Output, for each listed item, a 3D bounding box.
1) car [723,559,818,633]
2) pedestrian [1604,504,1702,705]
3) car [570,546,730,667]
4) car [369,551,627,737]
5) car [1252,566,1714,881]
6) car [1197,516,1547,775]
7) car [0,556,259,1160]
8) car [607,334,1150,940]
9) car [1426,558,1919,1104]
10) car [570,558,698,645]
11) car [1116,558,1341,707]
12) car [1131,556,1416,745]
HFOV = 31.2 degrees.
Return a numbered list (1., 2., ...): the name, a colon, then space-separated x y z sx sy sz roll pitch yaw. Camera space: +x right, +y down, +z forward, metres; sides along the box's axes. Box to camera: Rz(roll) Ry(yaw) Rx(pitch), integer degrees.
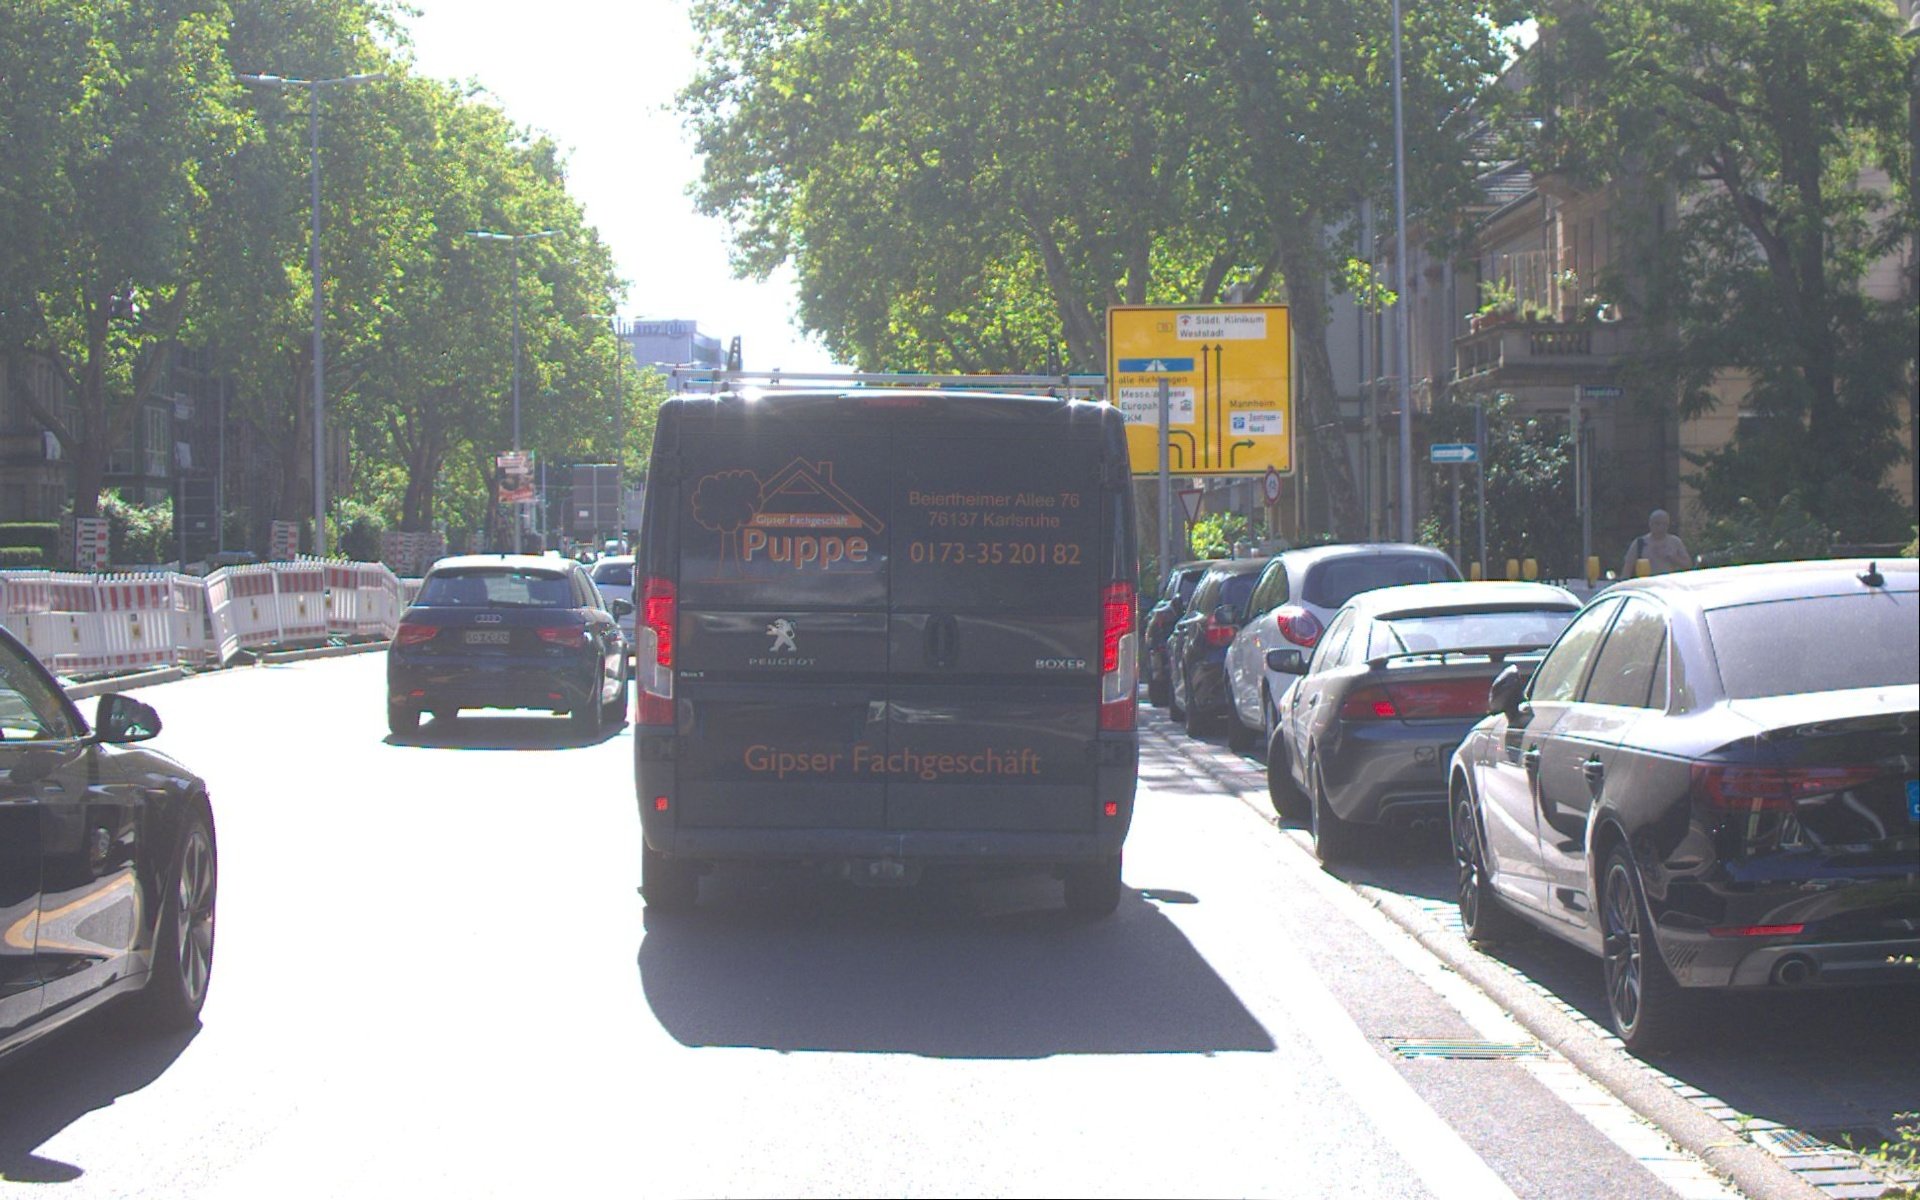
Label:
1. car: -3.254 -0.084 59.455 1.421 1.221 3.438 0 1 0
2. pedestrian: 7.064 0.042 35.087 0.798 2.007 1.168 -1 1 4
3. car: -3.778 0.061 42.340 1.548 1.420 3.555 0 1 2
4. car: -3.755 0.311 28.508 1.746 1.402 4.001 1 1 -2
5. car: 2.562 0.549 17.677 1.844 1.403 3.800 -1 1 1
6. car: 2.838 0.274 24.464 1.844 1.638 3.801 -2 1 -2
7. car: -3.261 0.605 8.929 1.925 1.407 4.626 2 1 0
8. car: -0.378 0.097 15.360 2.095 2.347 3.933 0 1 -2
9. car: 2.810 0.596 11.508 1.844 1.437 4.487 -1 1 0
10. car: -6.055 0.002 64.210 1.993 1.465 4.000 1 2 0
11. car: 2.682 0.288 35.143 1.844 1.406 3.801 -1 1 -2
12. car: 2.514 0.364 28.410 1.844 1.403 3.801 -1 1 -2
